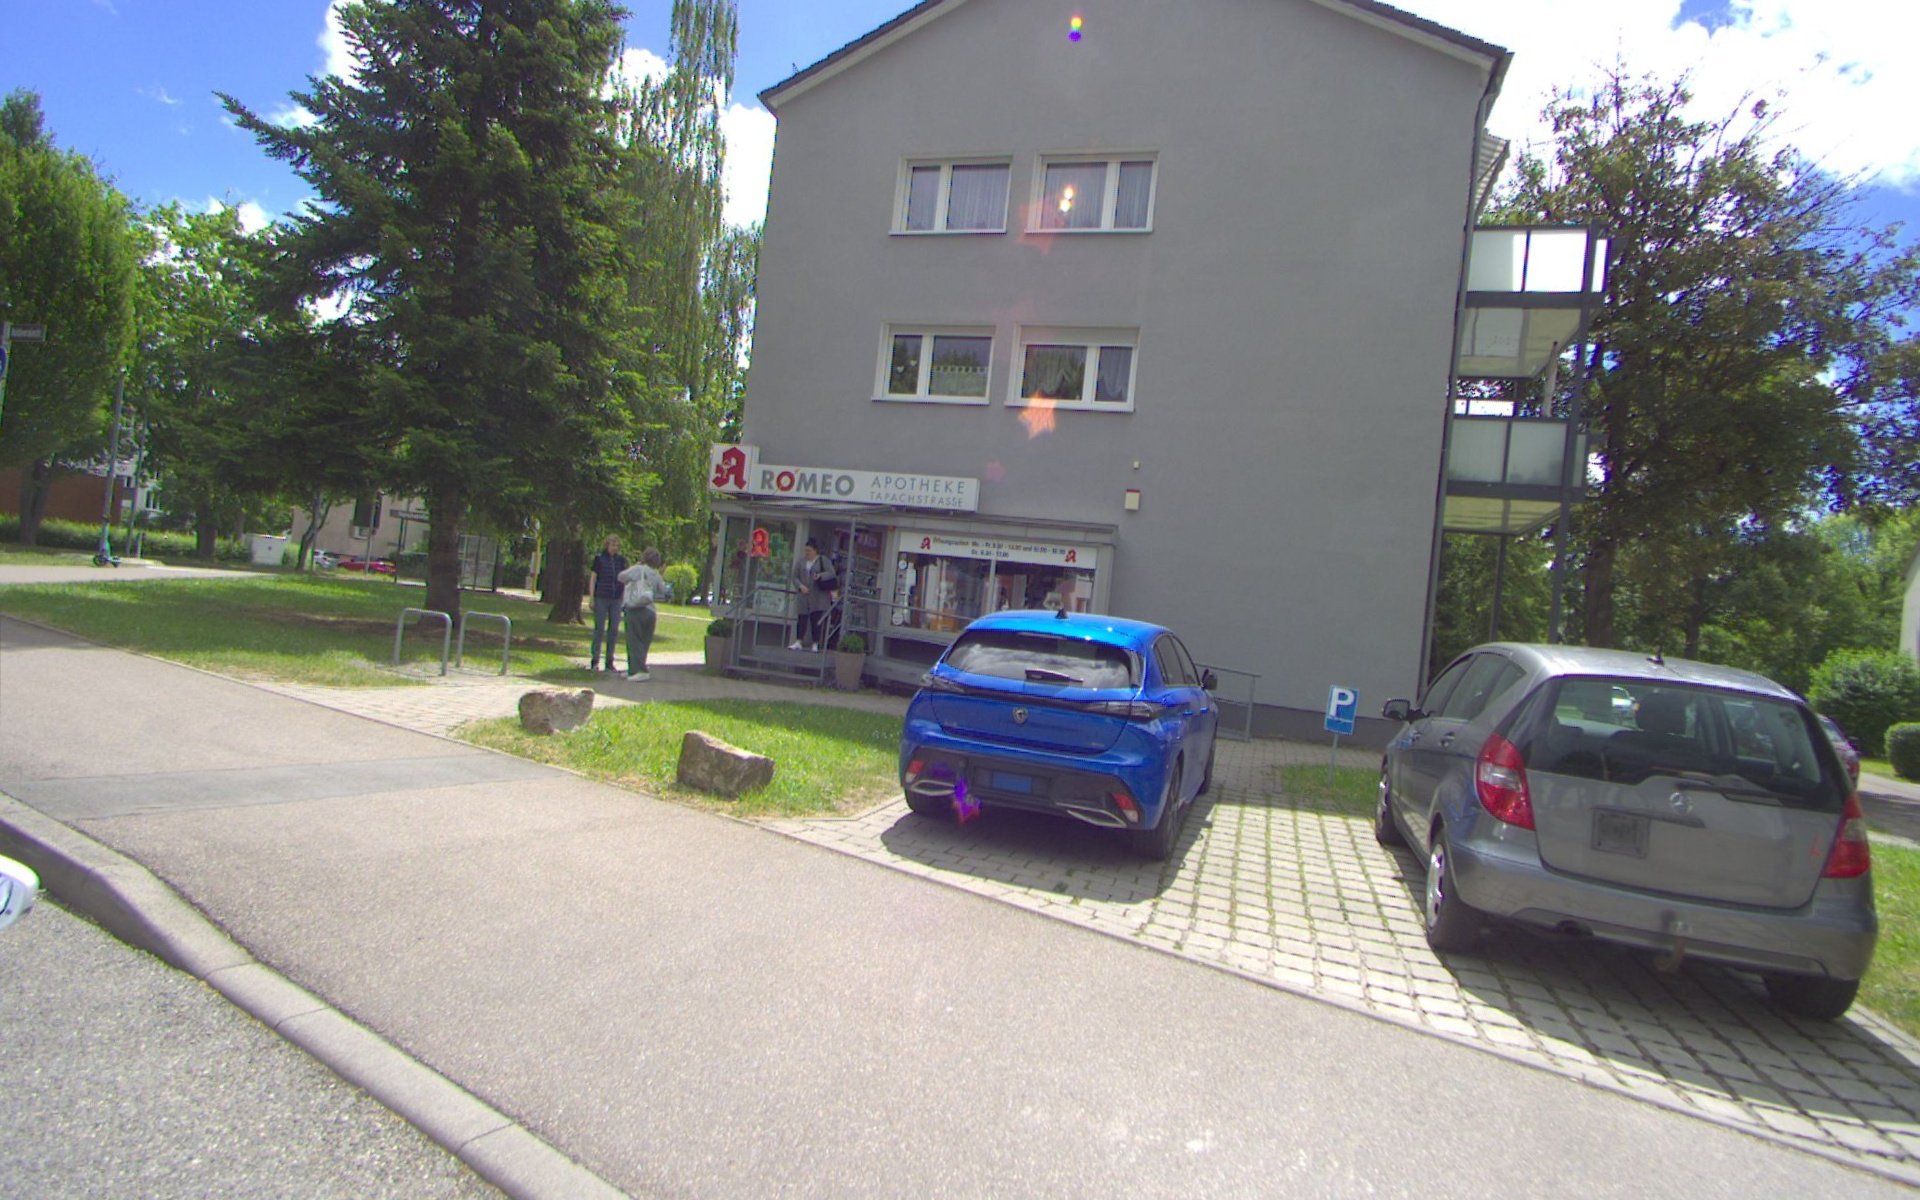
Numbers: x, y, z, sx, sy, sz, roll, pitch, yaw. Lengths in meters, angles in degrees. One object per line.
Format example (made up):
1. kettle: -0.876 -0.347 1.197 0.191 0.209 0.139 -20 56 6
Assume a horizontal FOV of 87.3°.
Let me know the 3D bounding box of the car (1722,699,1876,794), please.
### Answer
1. car: 17.063 2.956 20.649 1.702 1.519 3.878 6 -3 31

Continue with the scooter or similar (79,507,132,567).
1. scooter or similar: -20.930 -1.531 24.653 0.479 1.360 1.381 6 1 -22

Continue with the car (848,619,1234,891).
1. car: 0.988 0.892 7.920 1.962 1.260 4.494 6 1 18

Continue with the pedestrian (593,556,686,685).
1. pedestrian: -4.126 0.271 12.974 0.678 1.548 0.744 6 0 22

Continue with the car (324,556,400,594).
1. car: -40.386 -1.688 67.964 3.924 1.963 2.021 7 -2 15

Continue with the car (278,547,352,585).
1. car: -44.380 -2.343 69.234 3.924 1.963 2.003 7 -2 15

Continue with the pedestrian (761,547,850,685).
1. pedestrian: -2.375 0.246 15.548 0.924 1.980 0.843 6 0 11

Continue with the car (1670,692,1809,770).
1. car: 19.724 3.252 25.649 1.884 1.522 3.997 6 -1 26

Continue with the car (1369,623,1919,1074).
1. car: 3.692 1.036 5.976 1.994 1.577 3.738 6 1 19

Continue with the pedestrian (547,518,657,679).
1. pedestrian: -4.834 -0.016 13.610 1.027 2.038 0.656 6 0 18

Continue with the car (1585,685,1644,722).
1. car: 30.034 4.785 46.289 1.967 1.327 3.997 6 -3 31
